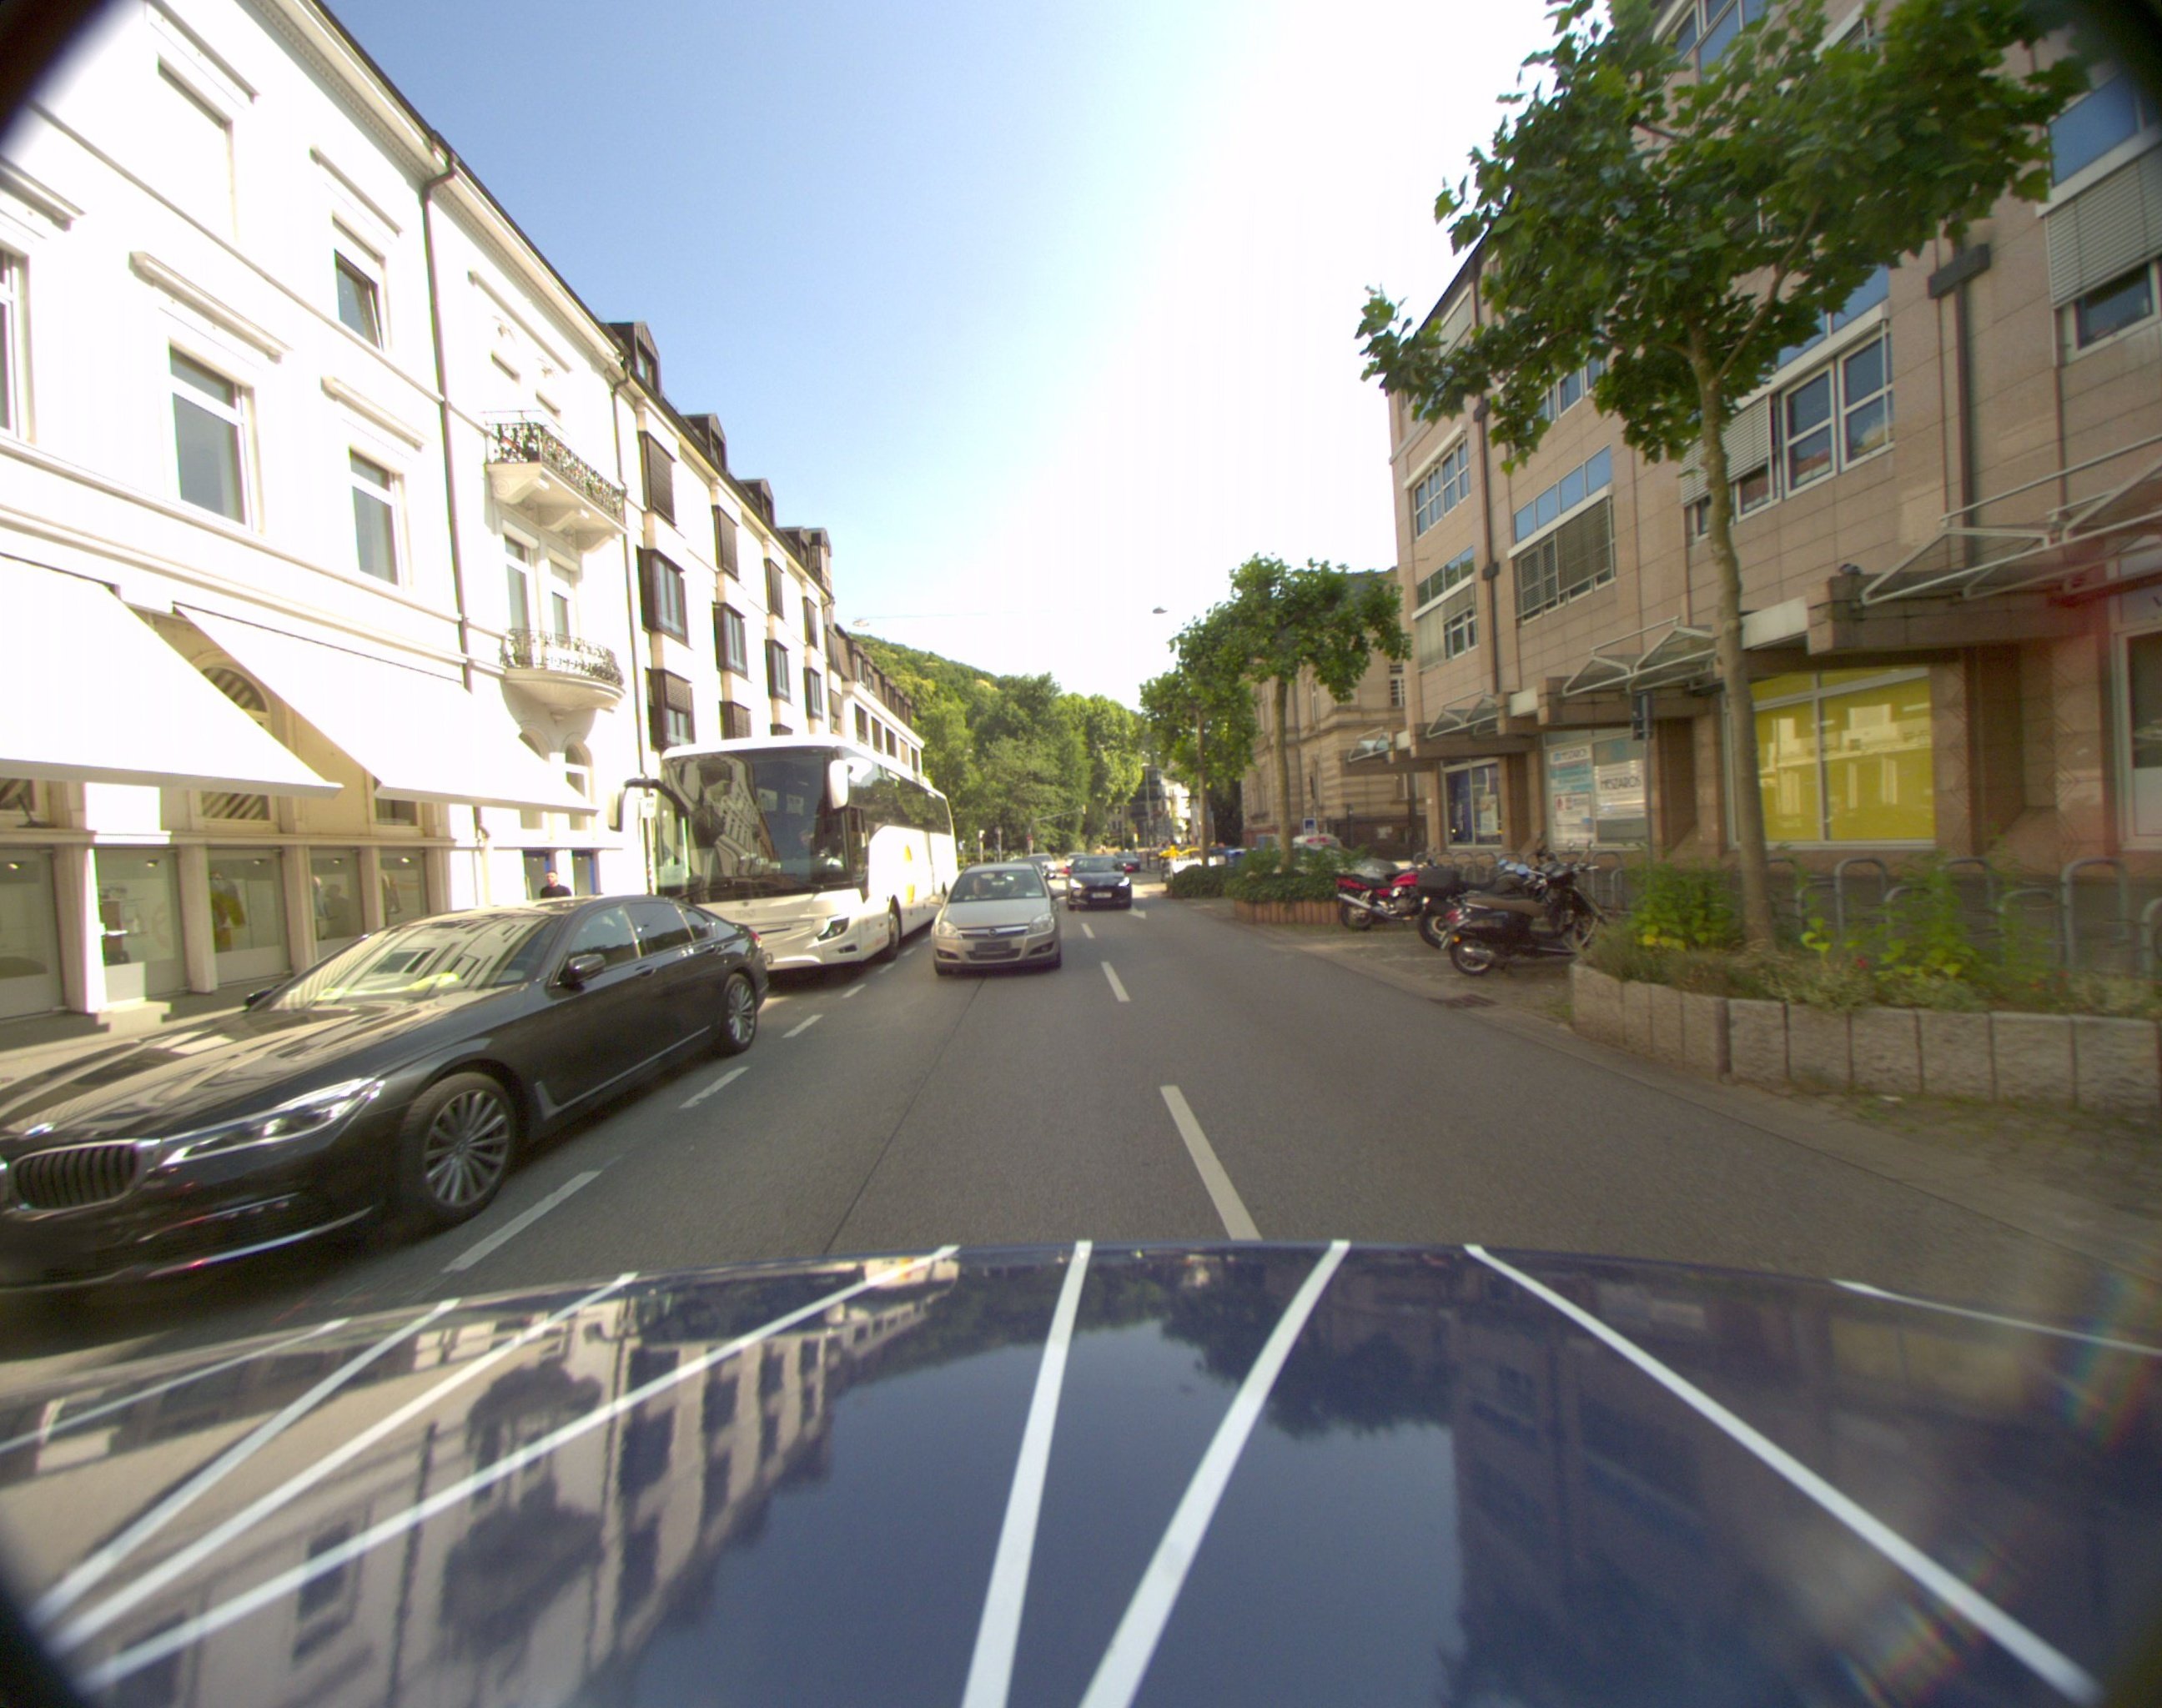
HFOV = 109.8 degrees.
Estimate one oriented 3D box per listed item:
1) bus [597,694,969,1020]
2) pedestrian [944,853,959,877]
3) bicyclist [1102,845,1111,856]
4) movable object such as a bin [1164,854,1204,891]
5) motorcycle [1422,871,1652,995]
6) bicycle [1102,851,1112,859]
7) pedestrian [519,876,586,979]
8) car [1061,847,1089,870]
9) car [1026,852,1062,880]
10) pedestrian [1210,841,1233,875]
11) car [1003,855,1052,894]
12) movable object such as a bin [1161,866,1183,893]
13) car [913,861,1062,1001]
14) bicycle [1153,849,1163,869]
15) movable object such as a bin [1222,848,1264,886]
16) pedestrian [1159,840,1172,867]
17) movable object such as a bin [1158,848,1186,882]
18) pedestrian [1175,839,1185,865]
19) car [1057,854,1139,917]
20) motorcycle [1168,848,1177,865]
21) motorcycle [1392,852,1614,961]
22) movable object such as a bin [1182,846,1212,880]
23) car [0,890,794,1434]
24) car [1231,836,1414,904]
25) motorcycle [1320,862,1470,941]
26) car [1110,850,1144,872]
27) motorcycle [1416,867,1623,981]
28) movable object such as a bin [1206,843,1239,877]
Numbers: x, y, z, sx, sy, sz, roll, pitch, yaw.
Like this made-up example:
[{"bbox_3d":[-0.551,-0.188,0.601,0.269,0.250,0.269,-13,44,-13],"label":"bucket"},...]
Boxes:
[{"bbox_3d":[-4.516,-0.012,15.455,2.889,3.720,12.421,-5,1,-3],"label":"bus"},{"bbox_3d":[-10.050,0.842,58.942,0.834,1.825,0.697,-3,2,7],"label":"pedestrian"},{"bbox_3d":[3.815,-0.522,112.931,0.866,1.566,0.945,-2,3,29],"label":"bicyclist"},{"bbox_3d":[3.831,0.680,28.414,1.280,1.292,0.853,-4,1,-2],"label":"movable object such as a bin"},{"bbox_3d":[4.736,0.835,8.062,1.912,1.163,0.761,-4,0,19],"label":"motorcycle"},{"bbox_3d":[3.878,0.095,113.026,0.782,1.114,1.680,-2,1,29],"label":"bicycle"},{"bbox_3d":[-9.327,1.270,13.437,0.568,1.721,0.768,-3,1,-2],"label":"pedestrian"},{"bbox_3d":[-0.444,0.322,57.972,1.941,1.421,4.547,-3,3,0],"label":"car"},{"bbox_3d":[-2.135,0.684,44.970,1.942,1.421,4.341,-3,1,-2],"label":"car"},{"bbox_3d":[7.307,0.215,39.637,0.892,1.715,0.748,-4,1,-8],"label":"pedestrian"},{"bbox_3d":[-2.362,0.830,32.762,1.849,1.421,4.209,-3,1,-7],"label":"car"},{"bbox_3d":[3.217,0.901,26.867,0.556,0.934,0.499,-2,0,-28],"label":"movable object such as a bin"},{"bbox_3d":[-1.201,0.953,11.438,1.712,1.513,4.405,-4,1,-2],"label":"car"},{"bbox_3d":[5.118,0.316,50.419,0.430,1.114,2.243,-5,2,9],"label":"bicycle"},{"bbox_3d":[6.092,0.477,28.653,1.212,1.292,1.079,-5,0,-2],"label":"movable object such as a bin"},{"bbox_3d":[5.637,-0.041,50.702,0.696,1.686,0.690,-3,3,1],"label":"pedestrian"},{"bbox_3d":[4.200,0.484,35.145,1.126,1.442,1.439,-5,0,4],"label":"movable object such as a bin"},{"bbox_3d":[6.546,-0.109,50.160,0.550,1.656,0.937,-3,2,7],"label":"pedestrian"},{"bbox_3d":[0.366,0.792,20.948,1.811,1.443,3.951,-2,1,-5],"label":"car"},{"bbox_3d":[6.041,0.167,50.267,0.454,0.992,2.161,-5,1,8],"label":"motorcycle"},{"bbox_3d":[5.541,0.690,10.233,2.348,1.260,1.295,-4,0,19],"label":"motorcycle"},{"bbox_3d":[5.329,0.425,35.072,1.126,1.442,1.439,-5,0,4],"label":"movable object such as a bin"},{"bbox_3d":[-3.881,1.195,5.111,1.864,1.461,5.224,-5,0,-1],"label":"car"},{"bbox_3d":[6.244,0.444,19.833,4.047,1.486,1.939,-4,0,39],"label":"car"},{"bbox_3d":[5.211,0.799,12.636,2.174,1.163,0.922,-4,0,26],"label":"motorcycle"},{"bbox_3d":[3.029,0.454,51.209,1.941,1.346,4.249,-3,0,-1],"label":"car"},{"bbox_3d":[4.974,0.804,8.774,1.912,1.163,0.729,-4,0,19],"label":"motorcycle"},{"bbox_3d":[6.477,0.269,34.869,1.211,1.442,1.364,-5,0,4],"label":"movable object such as a bin"}]
